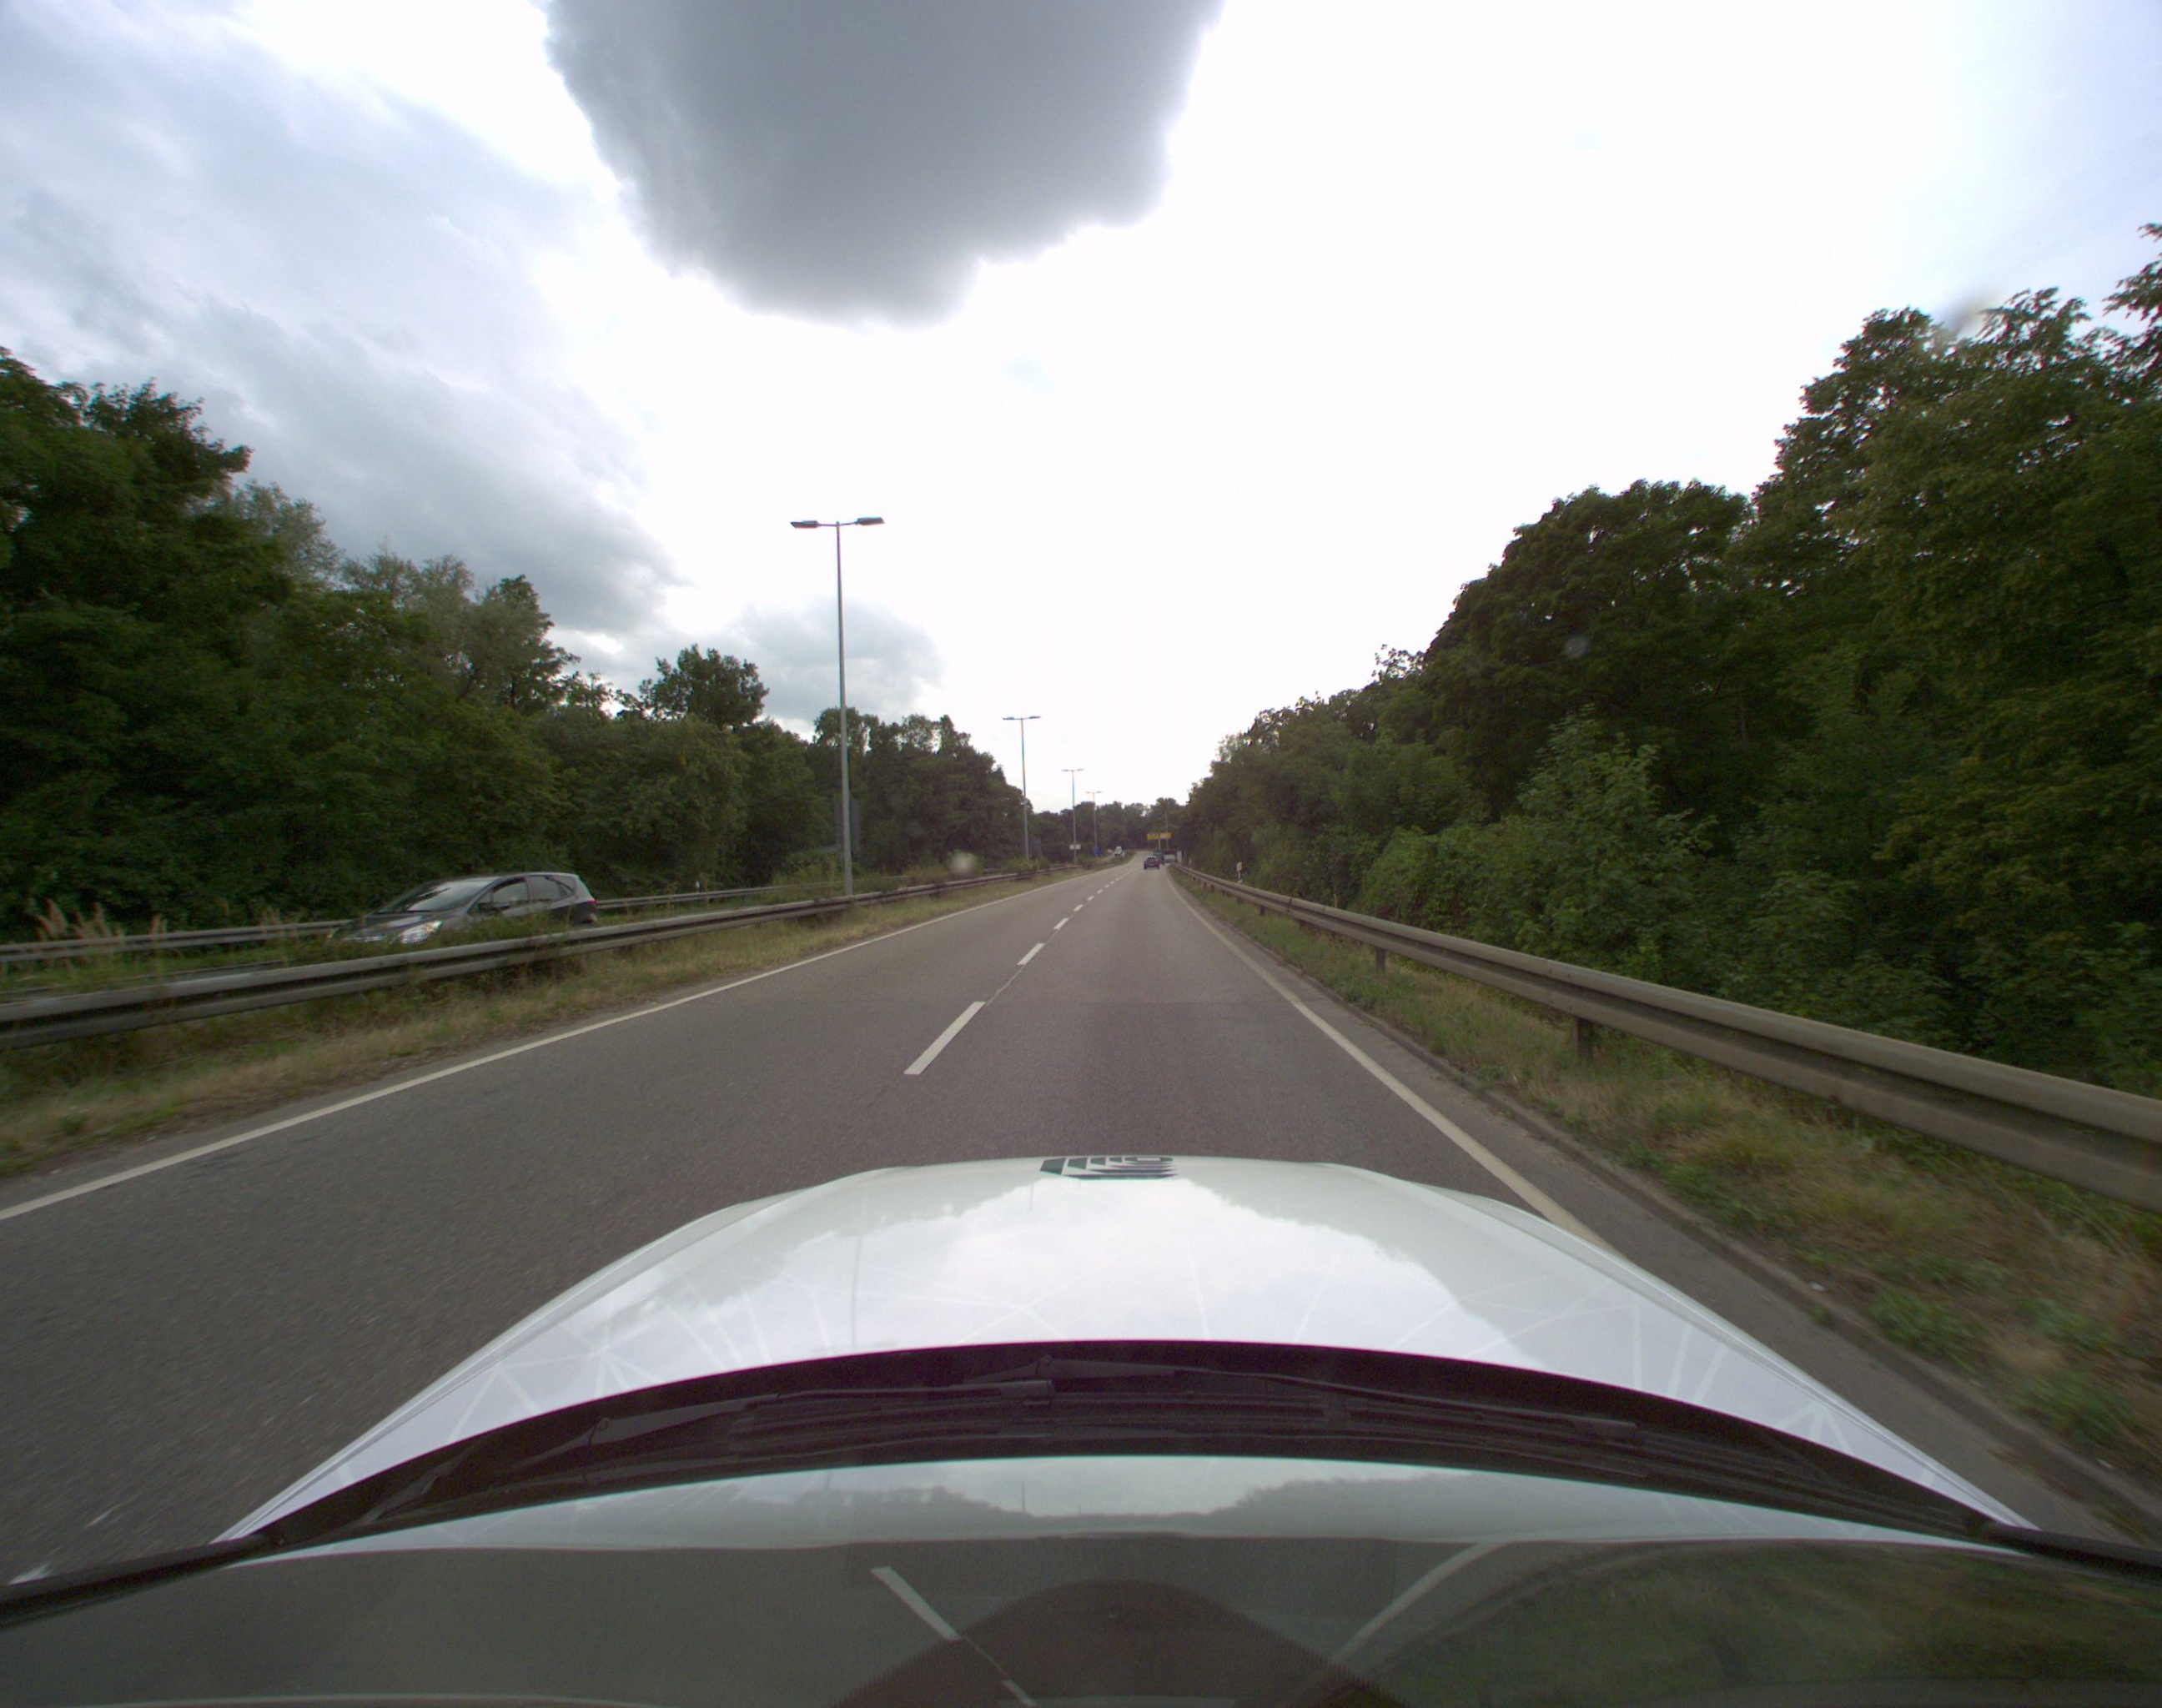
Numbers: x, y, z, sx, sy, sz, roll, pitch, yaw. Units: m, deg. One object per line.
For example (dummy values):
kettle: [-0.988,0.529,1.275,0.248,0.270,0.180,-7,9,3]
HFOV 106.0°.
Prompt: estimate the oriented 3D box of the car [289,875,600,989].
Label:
car: [-9.959,1.131,13.204,1.759,1.506,3.943,-2,-2,4]

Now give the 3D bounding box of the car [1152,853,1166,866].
car: [12.920,0.855,134.853,2.137,2.014,4.007,-2,-2,7]

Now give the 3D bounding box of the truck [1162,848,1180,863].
truck: [19.128,0.315,172.645,2.960,2.885,8.018,-2,-2,13]

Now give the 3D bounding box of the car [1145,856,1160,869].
car: [8.374,0.999,95.575,1.617,1.377,4.007,-2,-2,7]
